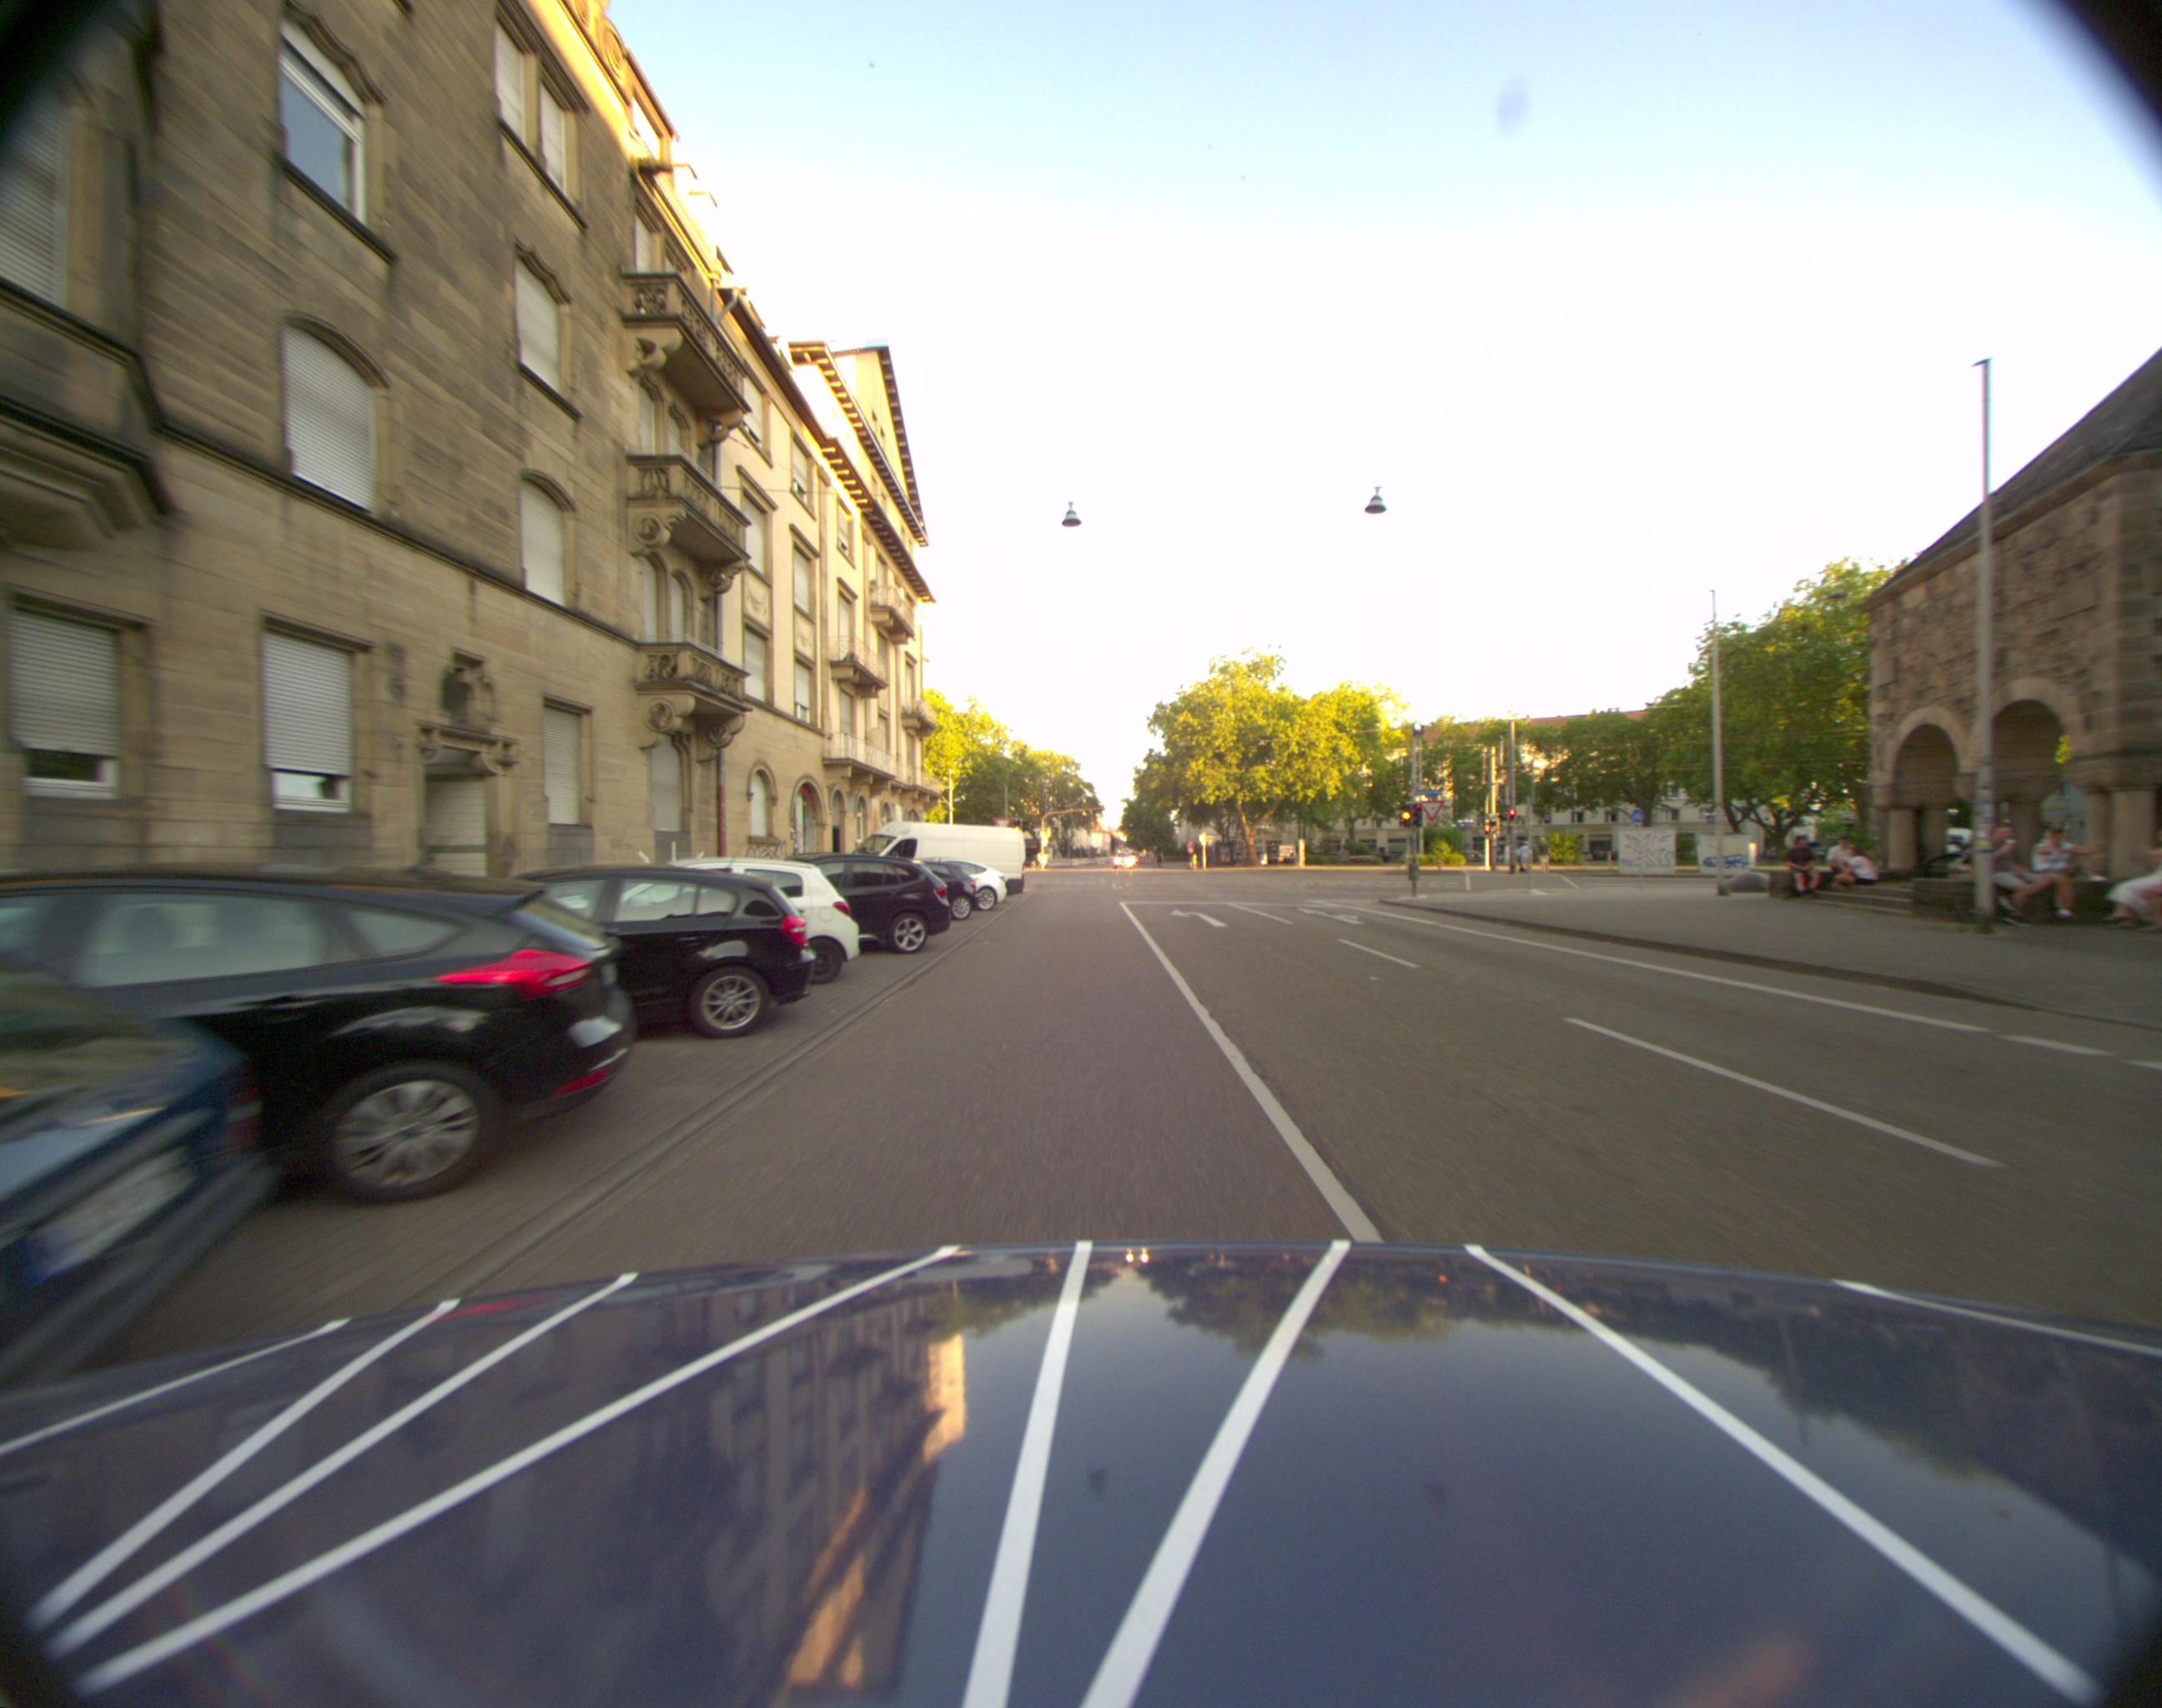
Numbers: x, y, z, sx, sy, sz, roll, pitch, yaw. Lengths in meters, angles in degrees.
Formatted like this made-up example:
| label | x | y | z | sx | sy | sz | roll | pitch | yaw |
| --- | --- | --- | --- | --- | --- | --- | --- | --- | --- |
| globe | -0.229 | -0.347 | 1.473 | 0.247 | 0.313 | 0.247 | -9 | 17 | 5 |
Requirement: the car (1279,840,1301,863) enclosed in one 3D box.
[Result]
| label | x | y | z | sx | sy | sz | roll | pitch | yaw |
| --- | --- | --- | --- | --- | --- | --- | --- | --- | --- |
| car | 18.642 | -0.219 | 67.729 | 1.865 | 2.002 | 3.815 | -1 | 1 | 16 |

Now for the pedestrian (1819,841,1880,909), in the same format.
| label | x | y | z | sx | sy | sz | roll | pitch | yaw |
| --- | --- | --- | --- | --- | --- | --- | --- | --- | --- |
| pedestrian | 15.987 | 0.424 | 15.808 | 0.700 | 1.367 | 0.801 | -1 | 1 | -38 |

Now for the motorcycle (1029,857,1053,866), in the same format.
| label | x | y | z | sx | sy | sz | roll | pitch | yaw |
| --- | --- | --- | --- | --- | --- | --- | --- | --- | --- |
| motorcycle | -4.040 | 0.736 | 76.951 | 2.288 | 0.917 | 0.621 | -1 | 1 | -25 |

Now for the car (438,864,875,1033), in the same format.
| label | x | y | z | sx | sy | sz | roll | pitch | yaw |
| --- | --- | --- | --- | --- | --- | --- | --- | --- | --- |
| car | -4.691 | 0.910 | 8.818 | 4.065 | 1.490 | 1.749 | 1 | 1 | -34 |

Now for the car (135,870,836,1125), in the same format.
| label | x | y | z | sx | sy | sz | roll | pitch | yaw |
| --- | --- | --- | --- | --- | --- | --- | --- | --- | --- |
| car | -4.368 | 0.909 | 6.351 | 4.042 | 1.423 | 1.863 | 2 | 1 | -33 |

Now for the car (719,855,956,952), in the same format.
| label | x | y | z | sx | sy | sz | roll | pitch | yaw |
| --- | --- | --- | --- | --- | --- | --- | --- | --- | --- |
| car | -4.568 | 0.848 | 14.516 | 3.925 | 1.536 | 1.712 | 1 | 2 | -40 |

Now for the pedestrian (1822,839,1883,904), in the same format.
| label | x | y | z | sx | sy | sz | roll | pitch | yaw |
| --- | --- | --- | --- | --- | --- | --- | --- | --- | --- |
| pedestrian | 16.668 | 0.359 | 16.440 | 0.801 | 1.367 | 0.701 | 0 | 1 | 34 |

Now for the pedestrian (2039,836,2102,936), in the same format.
| label | x | y | z | sx | sy | sz | roll | pitch | yaw |
| --- | --- | --- | --- | --- | --- | --- | --- | --- | --- |
| pedestrian | 14.271 | 0.445 | 10.967 | 0.401 | 1.398 | 0.549 | 0 | 1 | 36 |

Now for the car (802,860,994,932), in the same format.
| label | x | y | z | sx | sy | sz | roll | pitch | yaw |
| --- | --- | --- | --- | --- | --- | --- | --- | --- | --- |
| car | -4.220 | 0.905 | 17.818 | 3.924 | 1.438 | 1.869 | 1 | 2 | -39 |

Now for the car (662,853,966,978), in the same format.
| label | x | y | z | sx | sy | sz | roll | pitch | yaw |
| --- | --- | --- | --- | --- | --- | --- | --- | --- | --- |
| car | -4.080 | 0.840 | 11.889 | 4.107 | 1.598 | 1.811 | 1 | 1 | -37 |

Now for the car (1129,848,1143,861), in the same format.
| label | x | y | z | sx | sy | sz | roll | pitch | yaw |
| --- | --- | --- | --- | --- | --- | --- | --- | --- | --- |
| car | 8.367 | 0.065 | 115.491 | 1.991 | 1.945 | 4.597 | -1 | 0 | 4 |

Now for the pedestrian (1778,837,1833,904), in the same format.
| label | x | y | z | sx | sy | sz | roll | pitch | yaw |
| --- | --- | --- | --- | --- | --- | --- | --- | --- | --- |
| pedestrian | 15.988 | 0.351 | 16.789 | 0.628 | 1.445 | 0.917 | 0 | 1 | 27 |

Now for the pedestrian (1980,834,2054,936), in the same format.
| label | x | y | z | sx | sy | sz | roll | pitch | yaw |
| --- | --- | --- | --- | --- | --- | --- | --- | --- | --- |
| pedestrian | 13.731 | 0.437 | 11.161 | 0.549 | 1.445 | 0.559 | 0 | 1 | 36 |

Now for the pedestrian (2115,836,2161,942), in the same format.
| label | x | y | z | sx | sy | sz | roll | pitch | yaw |
| --- | --- | --- | --- | --- | --- | --- | --- | --- | --- |
| pedestrian | 14.423 | 0.462 | 10.180 | 0.546 | 1.398 | 0.459 | 0 | 1 | 36 |

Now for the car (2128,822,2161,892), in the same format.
| label | x | y | z | sx | sy | sz | roll | pitch | yaw |
| --- | --- | --- | --- | --- | --- | --- | --- | --- | --- |
| car | 27.643 | 0.085 | 17.942 | 1.580 | 1.798 | 4.413 | 0 | 1 | 27 |

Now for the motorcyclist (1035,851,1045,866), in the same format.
| label | x | y | z | sx | sy | sz | roll | pitch | yaw |
| --- | --- | --- | --- | --- | --- | --- | --- | --- | --- |
| motorcyclist | -4.116 | 0.409 | 76.908 | 0.830 | 1.511 | 0.621 | -1 | 1 | -24 |

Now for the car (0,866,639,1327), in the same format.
| label | x | y | z | sx | sy | sz | roll | pitch | yaw |
| --- | --- | --- | --- | --- | --- | --- | --- | --- | --- |
| car | -4.421 | 0.885 | 3.392 | 4.128 | 1.537 | 1.790 | 0 | 3 | -27 |

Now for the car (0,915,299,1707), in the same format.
| label | x | y | z | sx | sy | sz | roll | pitch | yaw |
| --- | --- | --- | --- | --- | --- | --- | --- | --- | --- |
| car | -4.129 | 0.903 | 0.688 | 4.406 | 1.478 | 1.839 | 2 | 0 | -30 |

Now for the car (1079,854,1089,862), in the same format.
| label | x | y | z | sx | sy | sz | roll | pitch | yaw |
| --- | --- | --- | --- | --- | --- | --- | --- | --- | --- |
| car | 0.597 | 0.804 | 152.059 | 1.794 | 1.571 | 4.001 | -1 | 0 | 4 |

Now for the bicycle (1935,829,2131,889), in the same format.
| label | x | y | z | sx | sy | sz | roll | pitch | yaw |
| --- | --- | --- | --- | --- | --- | --- | --- | --- | --- |
| bicycle | 17.372 | 0.097 | 13.936 | 2.281 | 1.051 | 0.596 | -1 | 1 | 18 |

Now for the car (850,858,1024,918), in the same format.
| label | x | y | z | sx | sy | sz | roll | pitch | yaw |
| --- | --- | --- | --- | --- | --- | --- | --- | --- | --- |
| car | -3.909 | 0.867 | 20.961 | 4.263 | 1.445 | 1.994 | 0 | 1 | -38 |

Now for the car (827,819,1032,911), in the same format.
| label | x | y | z | sx | sy | sz | roll | pitch | yaw |
| --- | --- | --- | --- | --- | --- | --- | --- | --- | --- |
| car | -4.599 | 0.268 | 23.692 | 5.897 | 2.537 | 2.189 | 0 | 2 | -40 |

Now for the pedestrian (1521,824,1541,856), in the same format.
| label | x | y | z | sx | sy | sz | roll | pitch | yaw |
| --- | --- | --- | --- | --- | --- | --- | --- | --- | --- |
| pedestrian | 23.332 | -0.701 | 39.376 | 0.718 | 1.624 | 1.008 | -1 | 1 | 21 |

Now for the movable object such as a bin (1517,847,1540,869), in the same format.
| label | x | y | z | sx | sy | sz | roll | pitch | yaw |
| --- | --- | --- | --- | --- | --- | --- | --- | --- | --- |
| movable object such as a bin | 23.834 | 0.205 | 40.476 | 0.860 | 1.113 | 1.139 | -1 | 1 | 21 |

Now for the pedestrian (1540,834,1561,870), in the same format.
| label | x | y | z | sx | sy | sz | roll | pitch | yaw |
| --- | --- | --- | --- | --- | --- | --- | --- | --- | --- |
| pedestrian | 24.120 | -0.111 | 39.053 | 0.709 | 1.836 | 1.161 | -1 | 1 | 21 |

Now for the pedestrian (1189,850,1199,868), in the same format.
| label | x | y | z | sx | sy | sz | roll | pitch | yaw |
| --- | --- | --- | --- | --- | --- | --- | --- | --- | --- |
| pedestrian | 10.677 | 0.478 | 71.817 | 0.745 | 1.619 | 0.660 | -1 | 1 | 18 |

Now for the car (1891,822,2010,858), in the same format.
| label | x | y | z | sx | sy | sz | roll | pitch | yaw |
| --- | --- | --- | --- | --- | --- | --- | --- | --- | --- |
| car | 65.447 | -1.014 | 57.335 | 5.565 | 2.603 | 2.003 | -1 | 1 | 24 |

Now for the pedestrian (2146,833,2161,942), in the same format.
| label | x | y | z | sx | sy | sz | roll | pitch | yaw |
| --- | --- | --- | --- | --- | --- | --- | --- | --- | --- |
| pedestrian | 14.186 | 0.430 | 9.584 | 0.702 | 1.398 | 0.633 | 0 | 1 | 36 |

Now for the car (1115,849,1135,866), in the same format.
| label | x | y | z | sx | sy | sz | roll | pitch | yaw |
| --- | --- | --- | --- | --- | --- | --- | --- | --- | --- |
| car | 4.210 | 0.344 | 72.259 | 1.840 | 1.549 | 4.001 | -1 | 0 | 4 |
